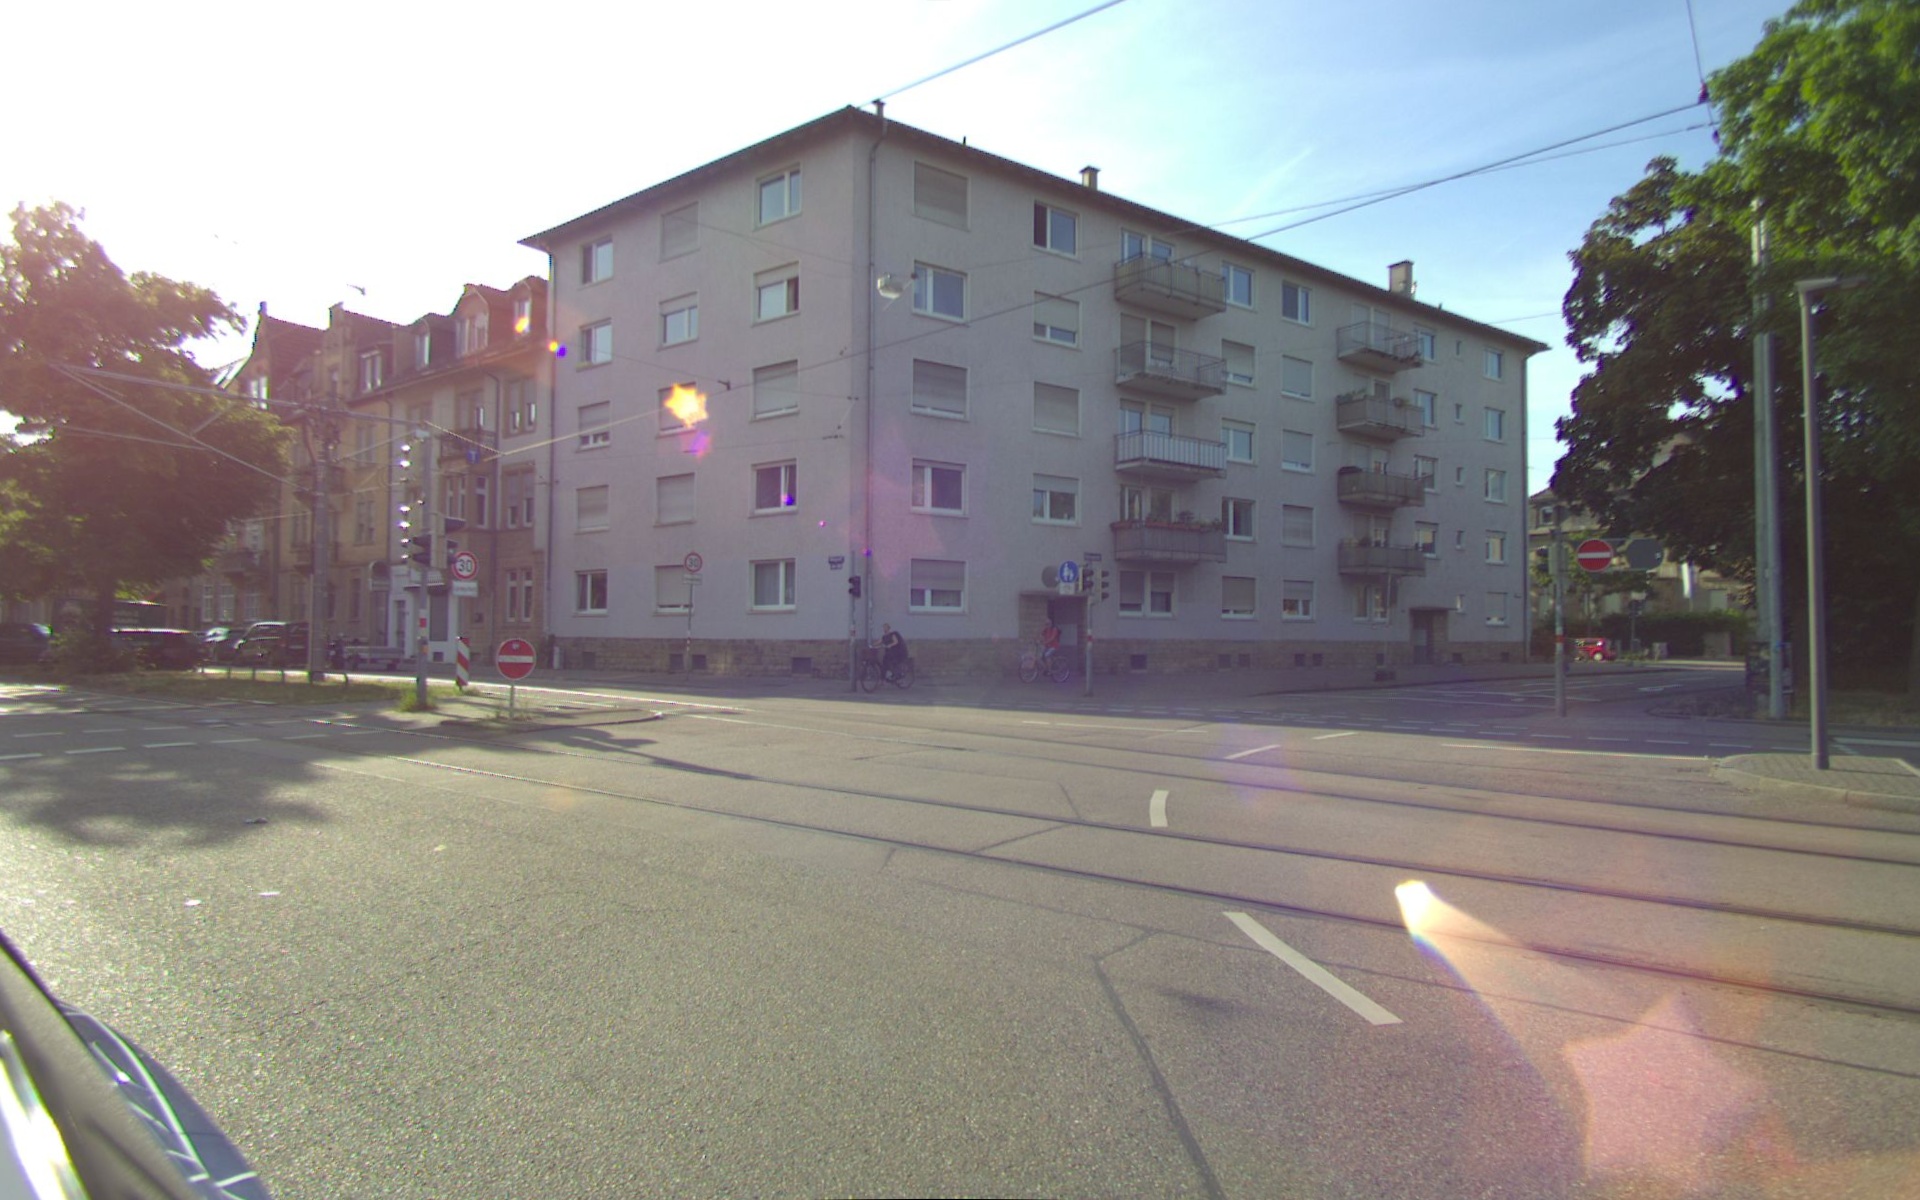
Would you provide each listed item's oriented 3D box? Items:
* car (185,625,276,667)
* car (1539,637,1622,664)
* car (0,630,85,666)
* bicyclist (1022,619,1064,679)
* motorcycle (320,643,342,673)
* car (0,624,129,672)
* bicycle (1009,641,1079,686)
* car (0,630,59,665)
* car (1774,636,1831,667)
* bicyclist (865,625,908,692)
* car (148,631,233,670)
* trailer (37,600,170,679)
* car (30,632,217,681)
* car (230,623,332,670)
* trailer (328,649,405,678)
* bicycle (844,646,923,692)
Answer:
[{"bbox_3d":[-32.725,2.035,45.348,4.604,1.763,2.144,-2,-2,38],"label":"car"},{"bbox_3d":[39.537,3.197,64.549,1.967,1.657,4.010,0,-2,-34],"label":"car"},{"bbox_3d":[-38.295,1.927,40.600,4.531,1.392,1.707,0,-2,-19],"label":"car"},{"bbox_3d":[2.350,1.374,28.730,0.839,1.655,0.816,0,-2,-34],"label":"bicyclist"},{"bbox_3d":[-24.224,2.211,39.000,0.626,1.088,1.739,0,-2,-29],"label":"motorcycle"},{"bbox_3d":[-33.534,1.737,36.766,4.640,1.703,2.177,1,-2,-12],"label":"car"},{"bbox_3d":[2.395,1.785,28.798,1.947,1.212,0.737,0,-2,-33],"label":"bicycle"},{"bbox_3d":[-41.117,1.995,42.689,4.235,1.433,1.964,0,-2,-12],"label":"car"},{"bbox_3d":[51.040,3.086,61.292,3.938,1.738,2.003,1,-2,-41],"label":"car"},{"bbox_3d":[-1.869,1.482,25.696,0.760,1.655,0.797,2,-2,-34],"label":"bicyclist"},{"bbox_3d":[-36.873,2.393,48.462,4.604,1.763,2.144,-2,-2,38],"label":"car"},{"bbox_3d":[-27.121,1.225,32.158,2.816,2.410,1.728,0,-2,-22],"label":"trailer"},{"bbox_3d":[-24.626,1.651,29.944,3.885,1.370,1.678,1,-2,-18],"label":"car"},{"bbox_3d":[-27.626,1.866,41.121,4.712,1.763,2.144,-2,-2,38],"label":"car"},{"bbox_3d":[-22.094,2.343,37.682,2.874,0.903,1.428,-2,3,37],"label":"trailer"},{"bbox_3d":[-1.935,1.727,25.626,1.884,1.119,0.737,2,-4,-33],"label":"bicycle"}]
